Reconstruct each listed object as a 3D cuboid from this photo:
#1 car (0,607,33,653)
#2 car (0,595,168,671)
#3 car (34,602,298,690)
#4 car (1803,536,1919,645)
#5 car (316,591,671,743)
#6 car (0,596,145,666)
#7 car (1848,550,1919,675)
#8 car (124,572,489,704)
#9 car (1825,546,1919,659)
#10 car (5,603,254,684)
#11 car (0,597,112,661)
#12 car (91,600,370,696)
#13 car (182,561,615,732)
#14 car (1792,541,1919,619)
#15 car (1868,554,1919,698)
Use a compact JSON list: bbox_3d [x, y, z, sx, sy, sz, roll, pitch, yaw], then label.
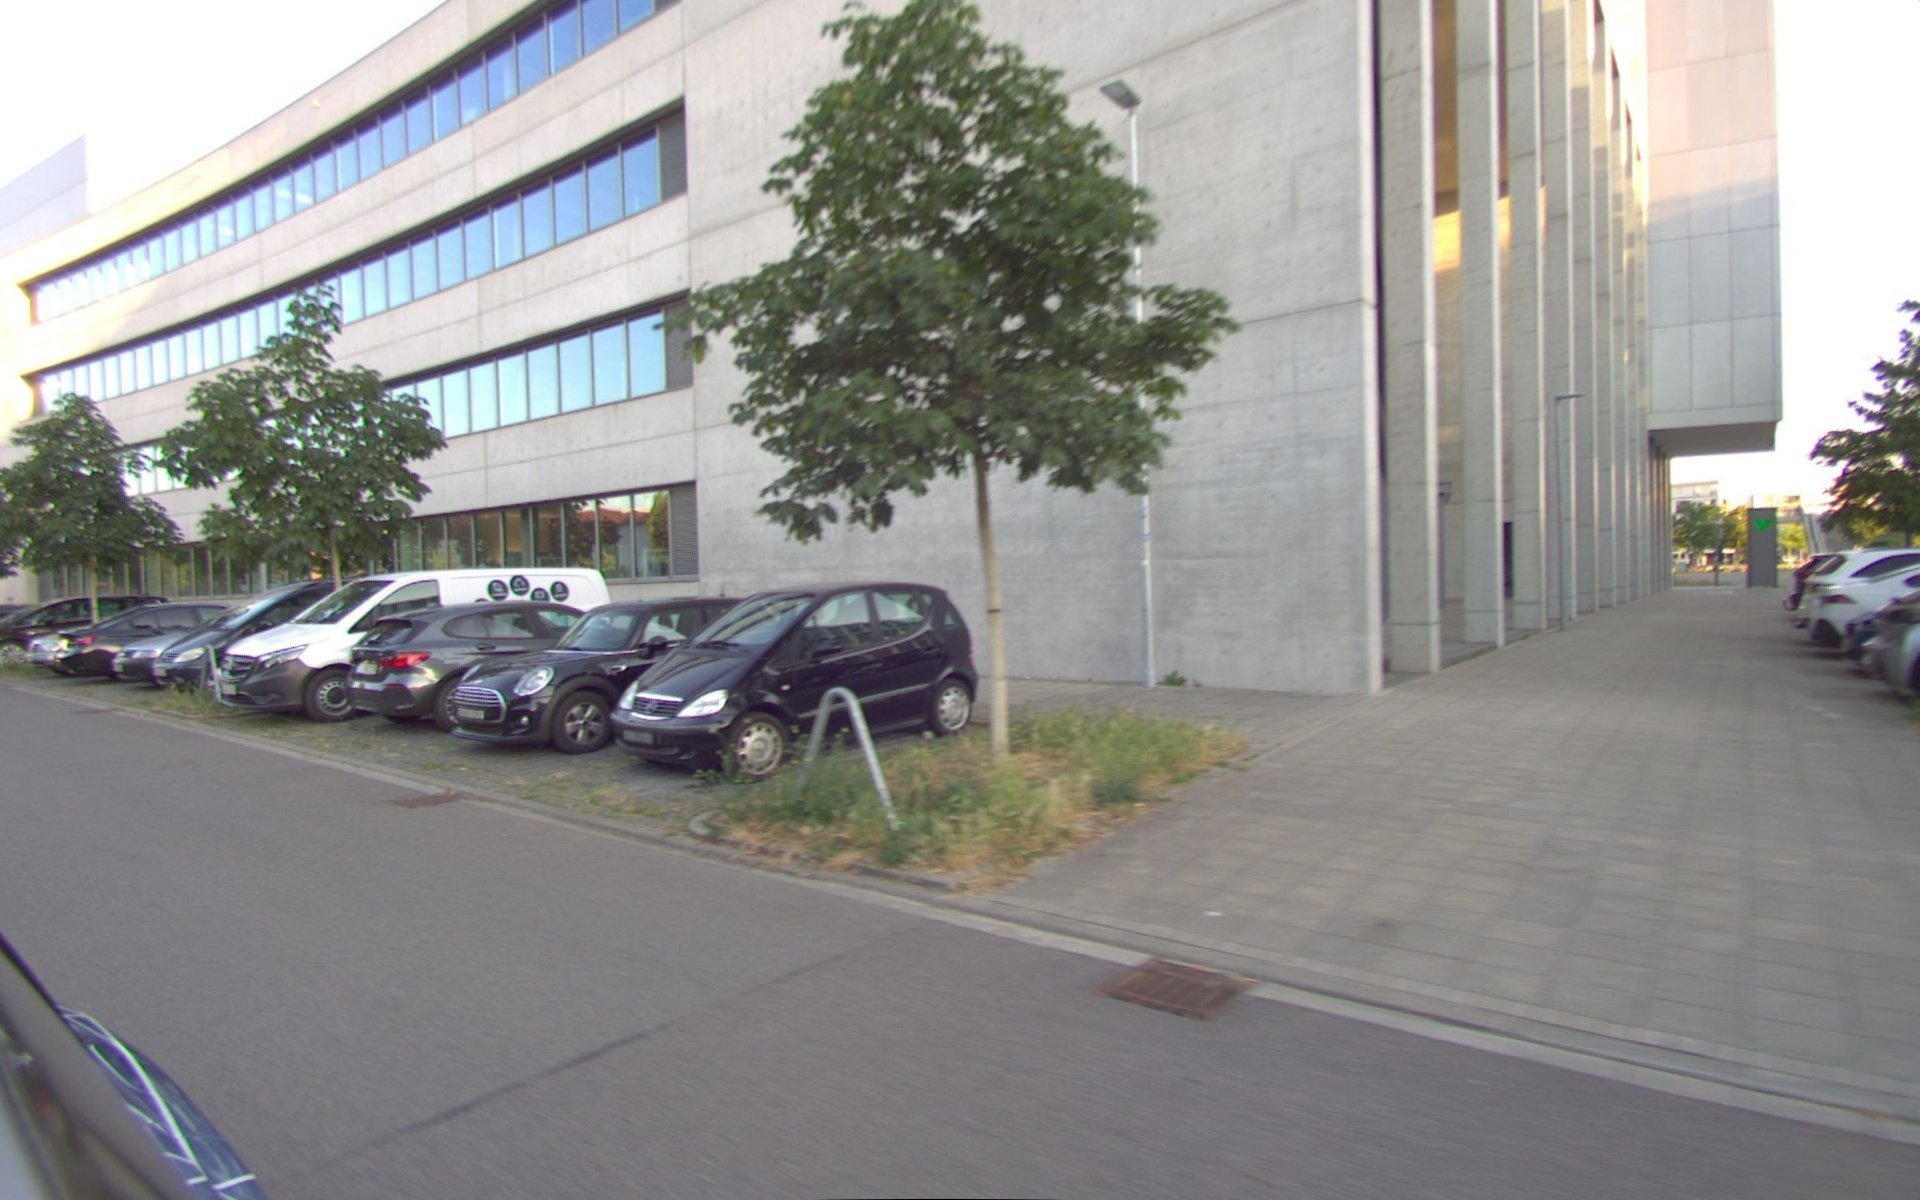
[{"bbox_3d":[-30.764,1.013,30.361,1.793,1.358,3.987,-2,2,31],"label":"car"},{"bbox_3d":[-22.314,0.793,24.942,1.793,1.595,3.987,-2,2,31],"label":"car"},{"bbox_3d":[-15.720,0.846,20.197,1.796,1.370,3.768,-1,2,37],"label":"car"},{"bbox_3d":[15.586,-0.161,15.383,4.129,1.640,1.629,1,2,37],"label":"car"},{"bbox_3d":[-5.704,0.714,12.677,1.725,1.435,3.608,-1,2,41],"label":"car"},{"bbox_3d":[-24.439,0.819,26.818,1.793,1.595,3.987,-2,2,31],"label":"car"},{"bbox_3d":[12.689,0.135,11.395,3.897,1.439,1.543,1,2,37],"label":"car"},{"bbox_3d":[-11.303,0.536,17.915,1.886,1.840,5.023,-1,2,37],"label":"car"},{"bbox_3d":[14.177,0.027,13.306,4.129,1.503,1.629,1,2,37],"label":"car"},{"bbox_3d":[-17.678,0.865,21.691,1.796,1.370,3.768,-1,2,37],"label":"car"},{"bbox_3d":[-26.334,0.844,28.017,1.793,1.595,3.987,-2,2,31],"label":"car"},{"bbox_3d":[-13.345,0.804,18.698,1.796,1.370,3.768,-1,2,37],"label":"car"},{"bbox_3d":[-7.704,0.484,14.464,1.886,1.894,5.023,-1,2,37],"label":"car"},{"bbox_3d":[20.240,-0.430,21.276,4.129,1.585,1.629,1,2,37],"label":"car"},{"bbox_3d":[11.135,0.251,9.421,3.812,1.396,1.629,1,2,37],"label":"car"}]
